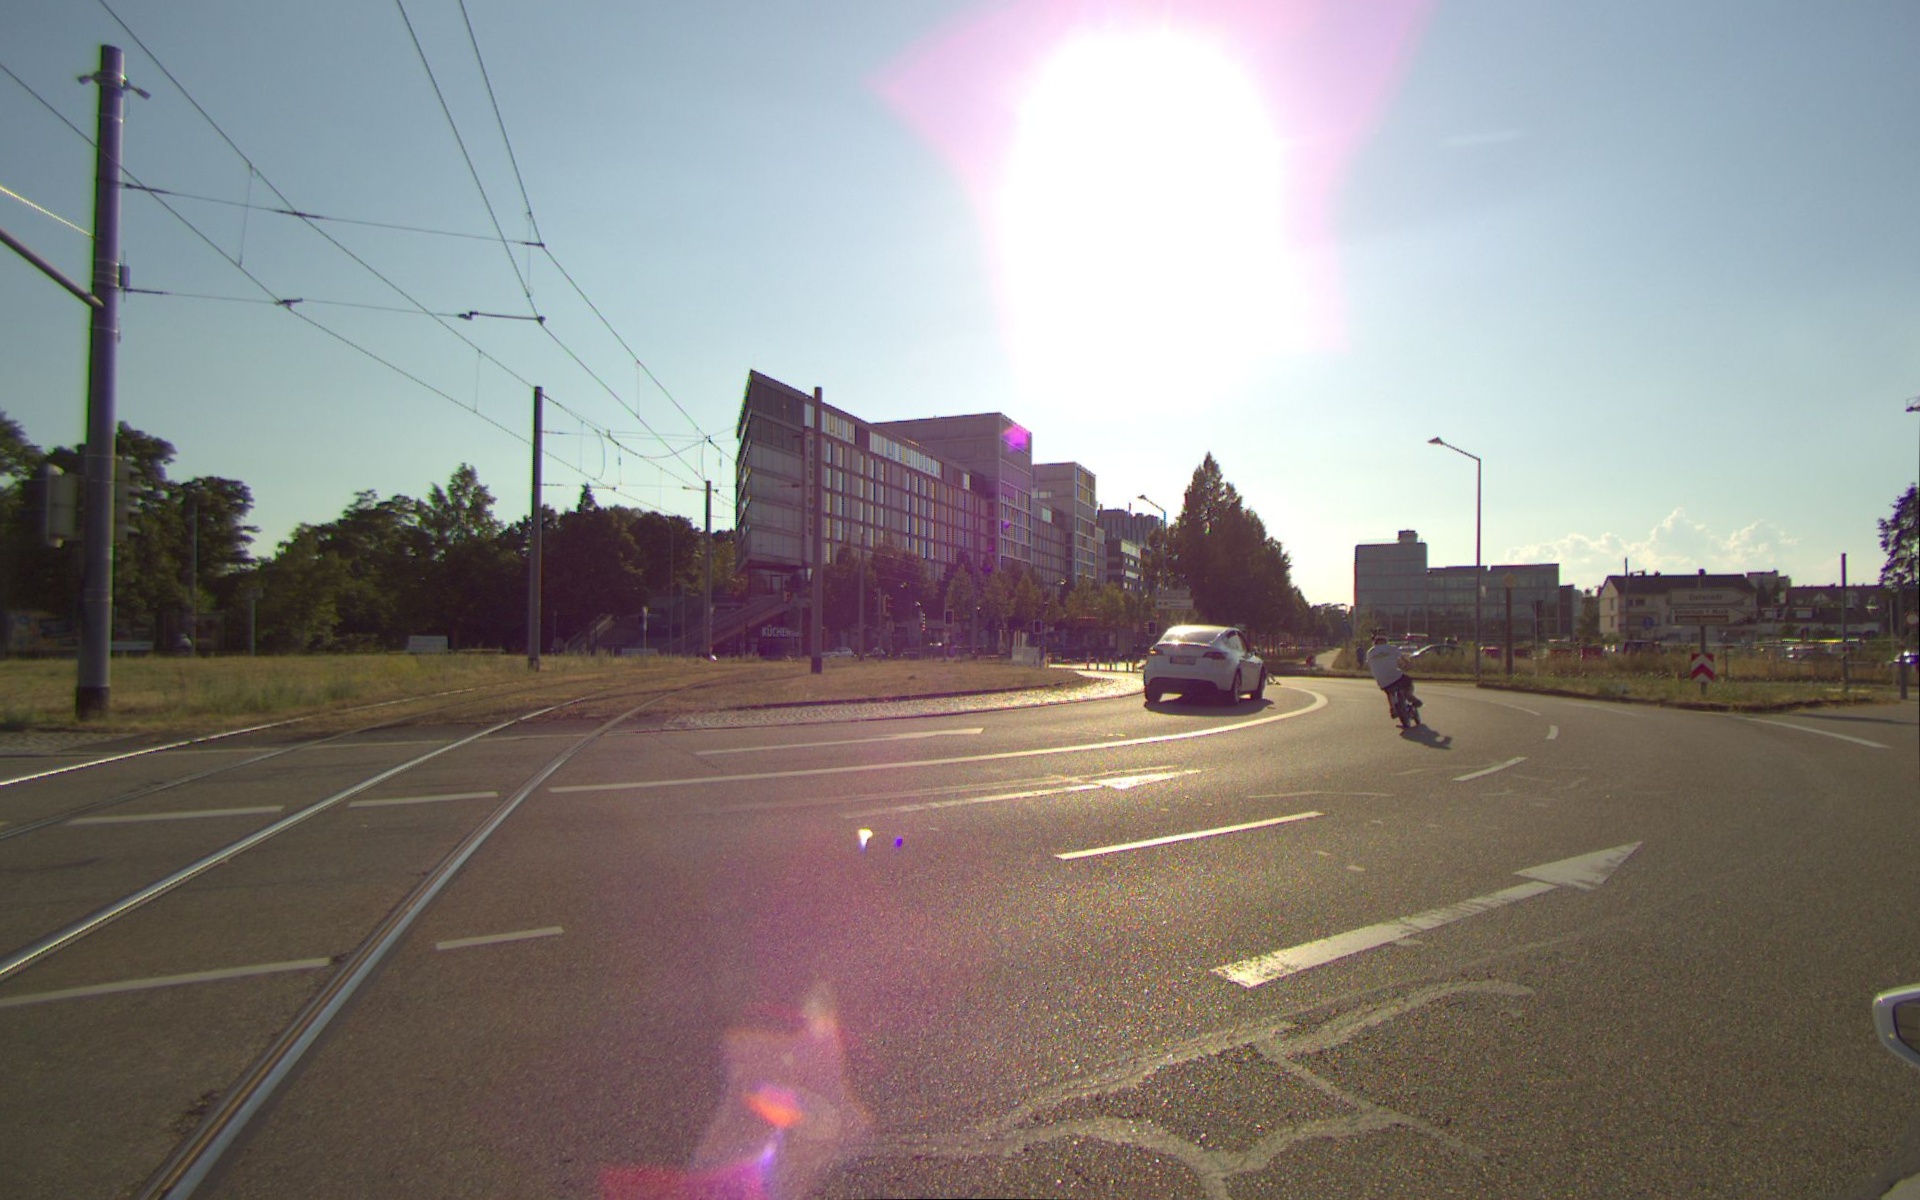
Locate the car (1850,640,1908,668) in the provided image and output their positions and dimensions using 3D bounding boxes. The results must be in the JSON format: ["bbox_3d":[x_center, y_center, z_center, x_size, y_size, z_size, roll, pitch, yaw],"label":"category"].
[{"bbox_3d":[70.174,4.116,76.796,1.638,2.040,3.824,0,-2,15],"label":"car"}]

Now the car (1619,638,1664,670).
[{"bbox_3d":[41.700,3.272,61.440,1.896,1.878,3.982,-2,-2,39],"label":"car"}]

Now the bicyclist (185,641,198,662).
[{"bbox_3d":[-49.691,3.338,64.940,0.649,1.343,0.513,1,-2,-39],"label":"bicyclist"}]

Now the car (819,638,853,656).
[{"bbox_3d":[-10.588,4.034,85.926,1.456,1.495,3.298,0,-2,24],"label":"car"}]

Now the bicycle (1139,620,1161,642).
[{"bbox_3d":[13.026,2.124,68.776,0.476,1.493,1.525,2,-2,-42],"label":"bicycle"}]

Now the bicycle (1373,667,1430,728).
[{"bbox_3d":[7.287,1.583,16.537,0.471,0.887,1.849,-1,-2,36],"label":"bicycle"}]

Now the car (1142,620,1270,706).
[{"bbox_3d":[5.480,1.262,21.904,1.708,1.620,4.671,0,-1,27],"label":"car"}]

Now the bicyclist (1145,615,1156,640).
[{"bbox_3d":[13.059,1.878,68.746,0.474,1.694,0.601,2,-2,-42],"label":"bicyclist"}]

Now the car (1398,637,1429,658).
[{"bbox_3d":[44.588,4.657,98.852,1.959,2.040,4.003,-1,-2,12],"label":"car"}]

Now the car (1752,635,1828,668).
[{"bbox_3d":[53.631,3.321,65.015,1.640,2.040,3.820,1,-2,-3],"label":"car"}]

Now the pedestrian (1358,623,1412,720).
[{"bbox_3d":[7.008,1.161,16.561,0.647,1.539,0.851,-1,-2,35],"label":"pedestrian"}]

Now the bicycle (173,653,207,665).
[{"bbox_3d":[-49.708,3.811,64.862,1.708,0.754,0.475,1,-2,-41],"label":"bicycle"}]
